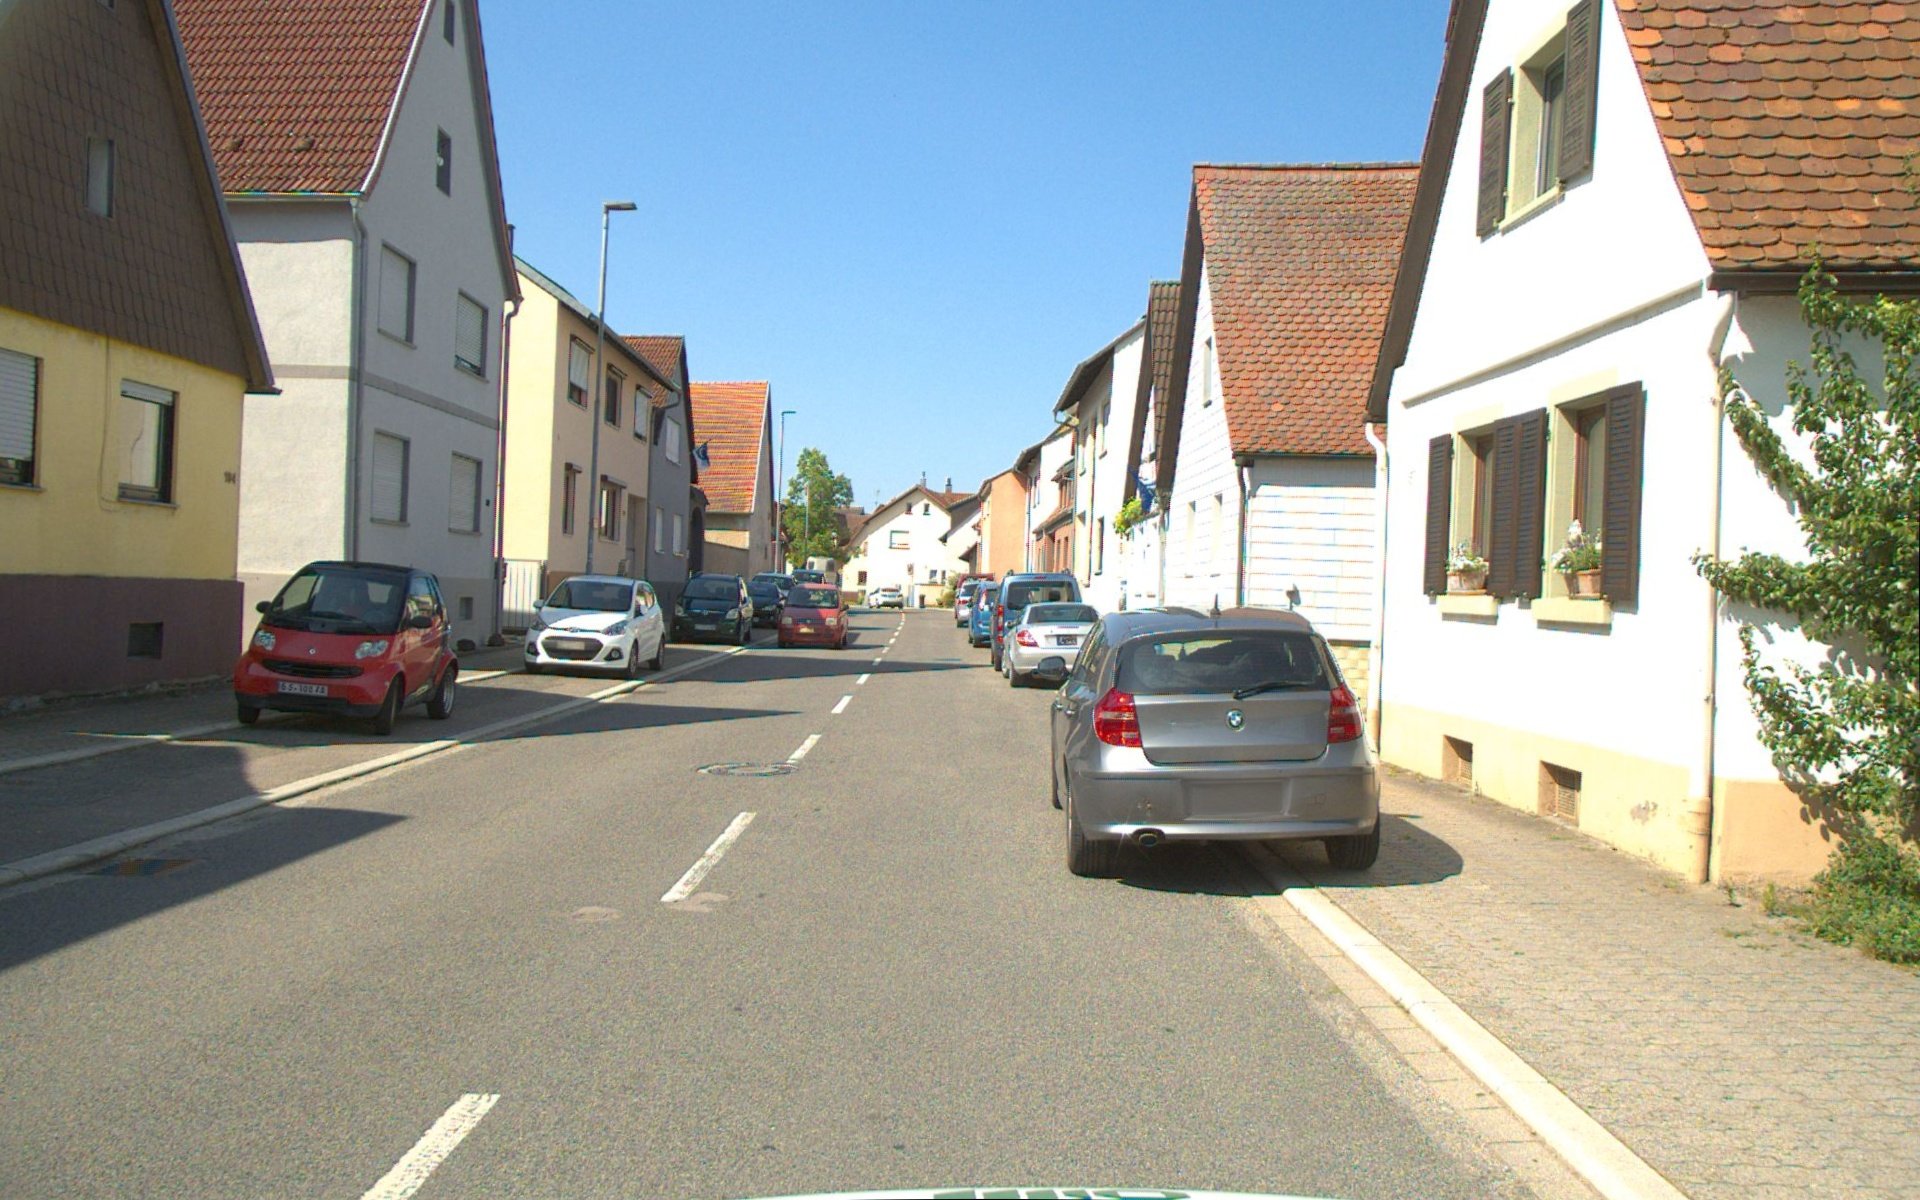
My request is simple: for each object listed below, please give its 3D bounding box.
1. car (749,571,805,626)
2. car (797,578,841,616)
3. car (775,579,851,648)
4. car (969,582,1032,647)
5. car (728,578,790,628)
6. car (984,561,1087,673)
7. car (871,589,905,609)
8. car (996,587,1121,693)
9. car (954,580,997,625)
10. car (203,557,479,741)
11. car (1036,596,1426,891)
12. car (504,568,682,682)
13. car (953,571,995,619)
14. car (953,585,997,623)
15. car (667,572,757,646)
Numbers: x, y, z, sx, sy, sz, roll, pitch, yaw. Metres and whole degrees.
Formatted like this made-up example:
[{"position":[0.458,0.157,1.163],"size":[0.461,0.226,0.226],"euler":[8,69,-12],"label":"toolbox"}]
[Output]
[{"position":[-6.219,-0.052,56.533],"size":[1.496,1.743,3.624],"euler":[3,0,-2],"label":"car"},{"position":[-6.531,-0.119,76.925],"size":[1.719,1.653,3.999],"euler":[2,0,-1],"label":"car"},{"position":[-3.558,0.313,40.479],"size":[1.569,1.515,3.624],"euler":[3,0,-2],"label":"car"},{"position":[1.021,0.360,42.719],"size":[1.392,1.541,3.303],"euler":[3,0,-2],"label":"car"},{"position":[-6.267,0.097,51.841],"size":[1.473,1.478,3.508],"euler":[2,0,-1],"label":"car"},{"position":[1.394,0.299,31.648],"size":[1.616,1.943,3.624],"euler":[3,0,-2],"label":"car"},{"position":[-4.995,-0.054,114.256],"size":[1.956,1.311,3.992],"euler":[2,0,-8],"label":"car"},{"position":[1.530,0.601,26.849],"size":[1.670,1.522,3.451],"euler":[3,0,-2],"label":"car"},{"position":[0.531,0.080,60.277],"size":[1.392,1.541,3.303],"euler":[3,0,-2],"label":"car"},{"position":[-5.996,0.439,16.351],"size":[1.521,1.571,2.987],"euler":[3,0,0],"label":"car"},{"position":[1.442,0.707,10.167],"size":[1.670,1.458,3.888],"euler":[0,0,-2],"label":"car"},{"position":[-5.763,0.367,26.506],"size":[1.769,1.574,4.403],"euler":[3,0,0],"label":"car"},{"position":[0.606,-0.189,73.486],"size":[1.731,2.039,3.449],"euler":[2,0,0],"label":"car"},{"position":[0.586,0.178,68.070],"size":[1.731,1.458,3.449],"euler":[2,0,0],"label":"car"},{"position":[-5.905,0.206,39.718],"size":[1.586,1.605,3.960],"euler":[3,0,-2],"label":"car"}]
